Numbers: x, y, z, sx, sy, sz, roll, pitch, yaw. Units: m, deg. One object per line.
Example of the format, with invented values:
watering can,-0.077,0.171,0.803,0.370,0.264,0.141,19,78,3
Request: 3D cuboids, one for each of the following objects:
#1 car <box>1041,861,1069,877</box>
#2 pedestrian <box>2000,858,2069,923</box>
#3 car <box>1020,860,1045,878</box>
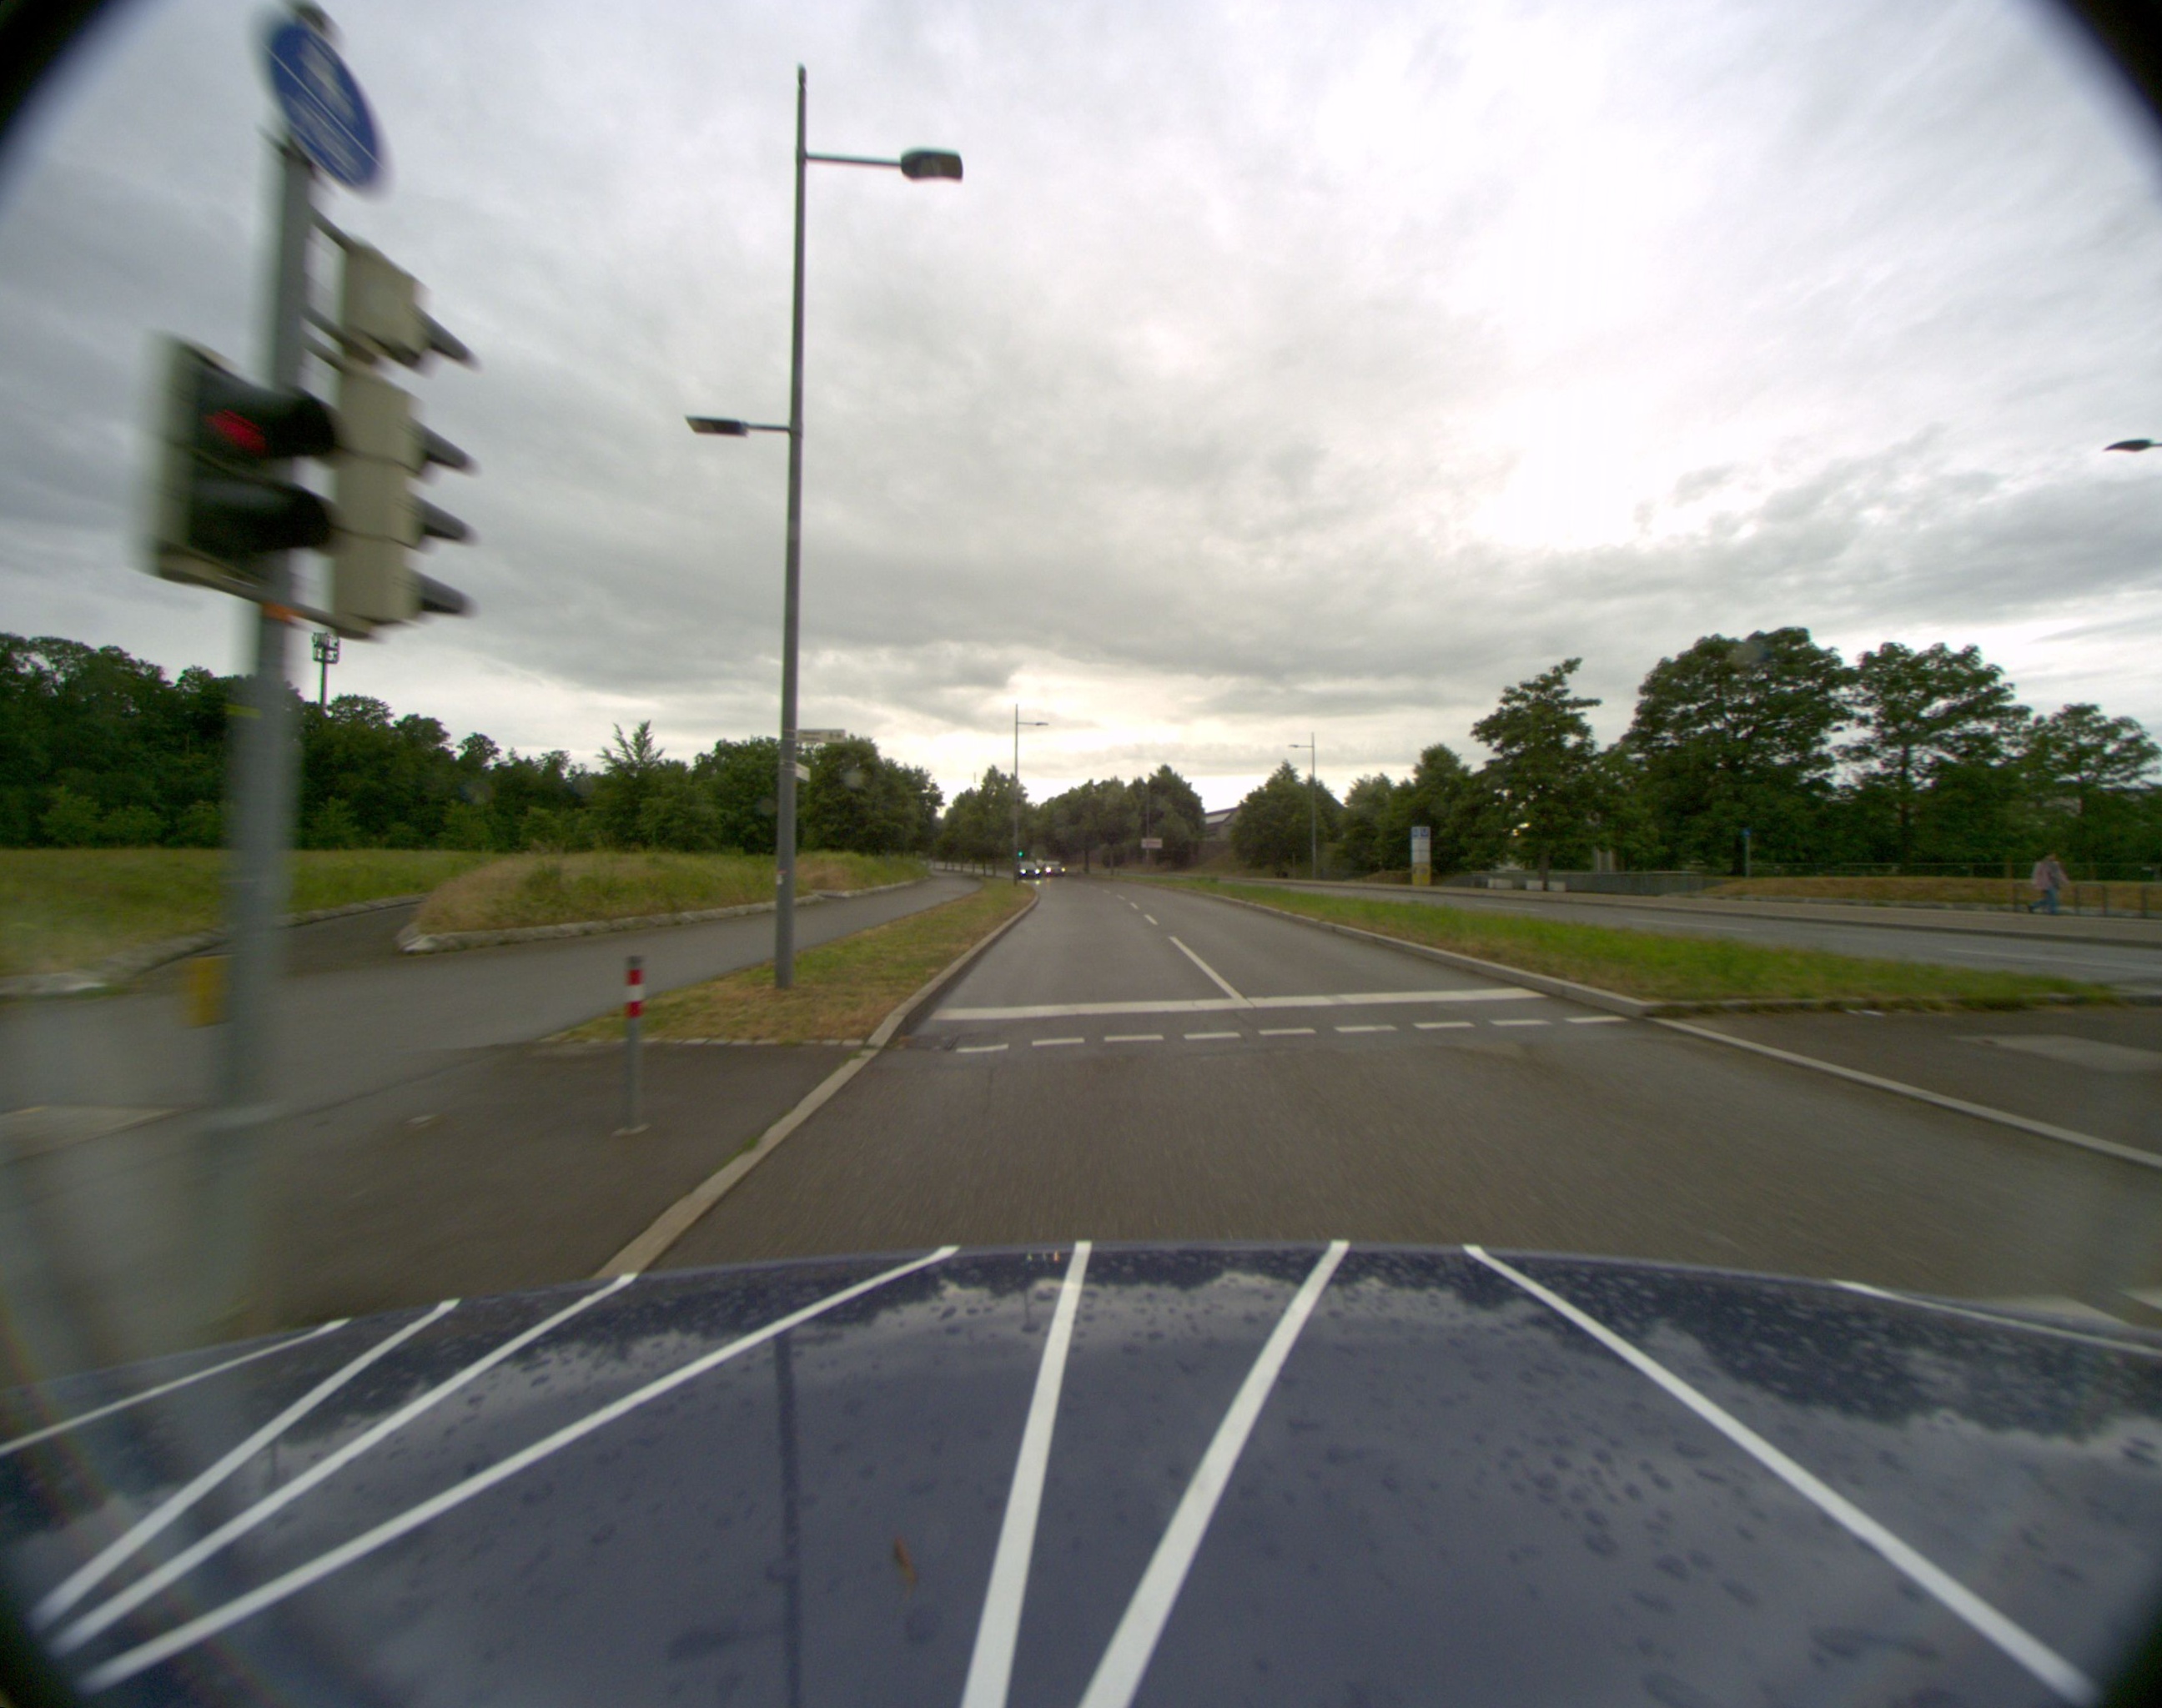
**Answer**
car,-2.424,1.361,69.689,1.812,1.421,4.193,0,-2,-12
pedestrian,23.794,0.900,18.972,0.616,1.584,0.813,0,-3,-4
car,-4.078,1.291,63.665,1.990,1.390,4.176,0,-2,-4
